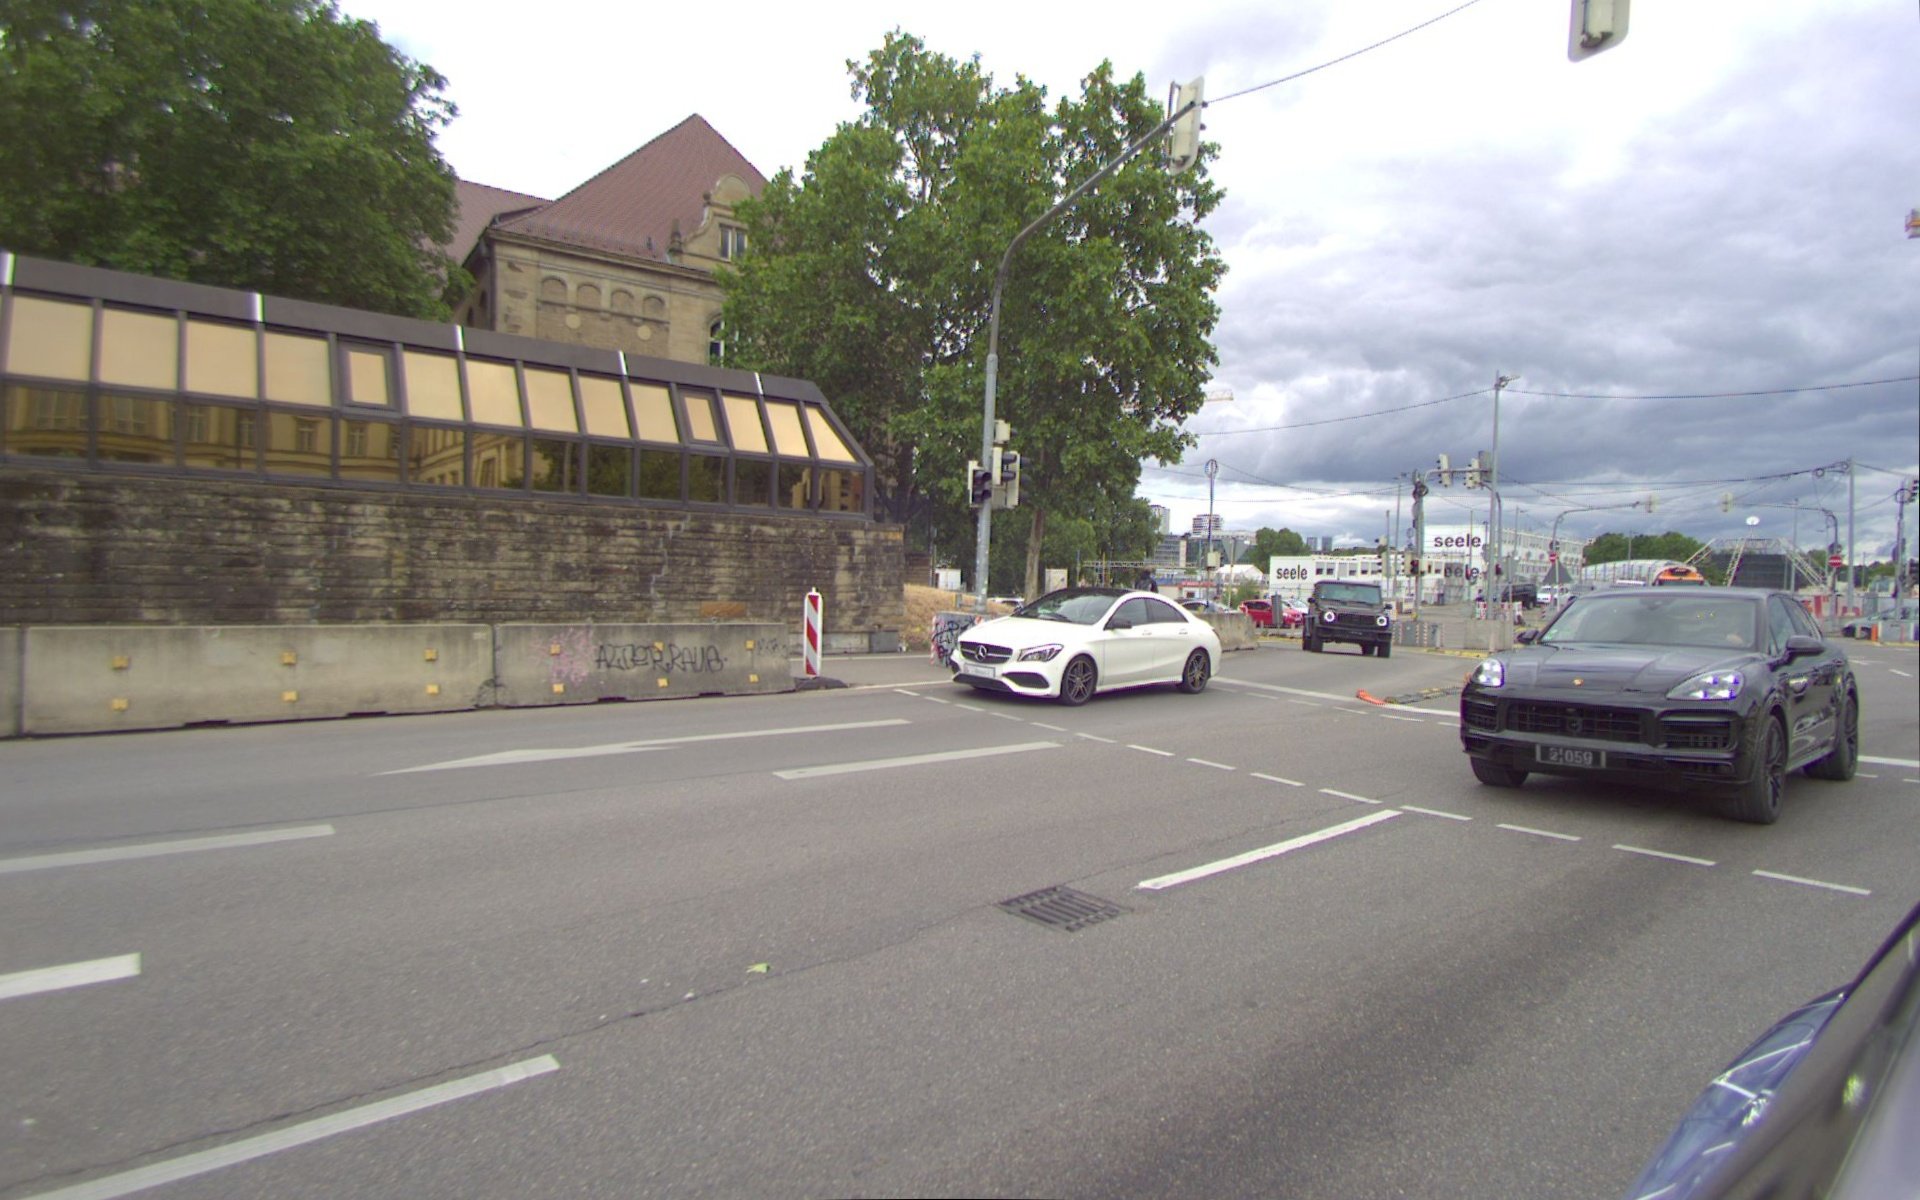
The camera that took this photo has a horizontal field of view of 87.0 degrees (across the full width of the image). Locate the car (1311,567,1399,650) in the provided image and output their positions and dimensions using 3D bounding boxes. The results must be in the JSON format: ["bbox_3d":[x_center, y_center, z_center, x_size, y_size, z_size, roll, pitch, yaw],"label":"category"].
[{"bbox_3d":[10.490,0.281,26.746,1.919,1.963,3.640,2,-2,25],"label":"car"}]

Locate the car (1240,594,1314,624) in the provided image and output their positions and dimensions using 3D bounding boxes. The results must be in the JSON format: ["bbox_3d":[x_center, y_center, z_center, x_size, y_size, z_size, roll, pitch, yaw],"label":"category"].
[{"bbox_3d":[16.633,0.431,53.186,1.660,1.453,3.446,-1,2,-36],"label":"car"}]

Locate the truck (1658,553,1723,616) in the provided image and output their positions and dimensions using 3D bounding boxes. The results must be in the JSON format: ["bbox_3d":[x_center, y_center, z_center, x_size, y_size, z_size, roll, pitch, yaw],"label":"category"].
[{"bbox_3d":[46.638,-1.004,64.812,2.891,3.720,8.920,2,2,33],"label":"truck"}]

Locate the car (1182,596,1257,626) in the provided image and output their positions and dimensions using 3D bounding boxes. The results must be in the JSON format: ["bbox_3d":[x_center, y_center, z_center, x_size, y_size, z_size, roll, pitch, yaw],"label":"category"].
[{"bbox_3d":[13.384,0.572,52.240,1.635,1.453,3.443,-2,1,-38],"label":"car"}]

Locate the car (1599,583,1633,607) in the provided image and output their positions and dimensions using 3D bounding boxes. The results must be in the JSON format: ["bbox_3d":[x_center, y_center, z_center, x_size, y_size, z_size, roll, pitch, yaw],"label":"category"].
[{"bbox_3d":[42.312,-0.357,65.238,1.775,1.453,4.018,2,1,34],"label":"car"}]

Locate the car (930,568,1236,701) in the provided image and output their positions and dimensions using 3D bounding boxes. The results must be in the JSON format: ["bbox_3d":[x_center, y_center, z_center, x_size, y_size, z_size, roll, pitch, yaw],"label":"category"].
[{"bbox_3d":[1.789,0.419,13.685,4.308,1.453,1.737,2,2,-44],"label":"car"}]

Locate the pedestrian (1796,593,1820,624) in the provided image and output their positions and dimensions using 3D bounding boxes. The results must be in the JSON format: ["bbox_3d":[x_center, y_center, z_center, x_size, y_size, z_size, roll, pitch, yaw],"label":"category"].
[{"bbox_3d":[44.971,0.439,53.672,0.844,1.612,0.616,0,0,32],"label":"pedestrian"}]

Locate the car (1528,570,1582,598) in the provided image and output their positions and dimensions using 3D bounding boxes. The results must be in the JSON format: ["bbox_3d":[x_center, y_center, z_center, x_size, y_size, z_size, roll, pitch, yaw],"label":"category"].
[{"bbox_3d":[46.528,-1.269,79.076,4.083,2.039,2.001,2,1,-33],"label":"car"}]

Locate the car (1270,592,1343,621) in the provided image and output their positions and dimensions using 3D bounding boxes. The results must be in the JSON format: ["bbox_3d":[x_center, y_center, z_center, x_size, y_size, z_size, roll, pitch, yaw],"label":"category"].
[{"bbox_3d":[18.828,0.345,55.073,1.663,1.453,3.446,-2,2,-36],"label":"car"}]

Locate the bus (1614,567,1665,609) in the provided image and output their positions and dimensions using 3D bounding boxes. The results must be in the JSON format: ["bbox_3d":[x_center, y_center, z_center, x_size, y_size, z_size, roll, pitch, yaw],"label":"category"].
[{"bbox_3d":[56.564,-0.919,84.086,2.799,3.209,9.271,3,1,38],"label":"bus"}]

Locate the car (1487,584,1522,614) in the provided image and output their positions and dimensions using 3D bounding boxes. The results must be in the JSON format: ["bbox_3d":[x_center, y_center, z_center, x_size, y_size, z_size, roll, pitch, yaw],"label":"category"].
[{"bbox_3d":[40.159,-0.068,74.580,1.985,2.039,3.954,3,1,32],"label":"car"}]

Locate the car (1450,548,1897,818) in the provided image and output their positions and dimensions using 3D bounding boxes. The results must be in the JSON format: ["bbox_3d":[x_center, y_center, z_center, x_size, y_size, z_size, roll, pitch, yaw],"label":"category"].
[{"bbox_3d":[6.122,0.586,8.482,4.525,1.669,1.955,2,-2,-40],"label":"car"}]

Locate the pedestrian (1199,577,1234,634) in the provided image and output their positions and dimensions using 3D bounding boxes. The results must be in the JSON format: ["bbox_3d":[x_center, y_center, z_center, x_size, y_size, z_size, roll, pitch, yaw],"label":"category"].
[{"bbox_3d":[9.363,0.197,37.028,1.186,2.039,1.189,1,0,14],"label":"pedestrian"}]

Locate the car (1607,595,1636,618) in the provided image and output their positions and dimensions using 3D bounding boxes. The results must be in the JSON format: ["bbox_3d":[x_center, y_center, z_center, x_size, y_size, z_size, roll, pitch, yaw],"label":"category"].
[{"bbox_3d":[45.855,0.424,70.150,1.641,1.453,3.575,2,1,34],"label":"car"}]

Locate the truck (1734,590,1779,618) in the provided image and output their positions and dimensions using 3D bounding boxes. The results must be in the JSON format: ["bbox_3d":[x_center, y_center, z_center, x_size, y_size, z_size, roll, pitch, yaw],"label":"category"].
[{"bbox_3d":[47.777,0.244,60.754,1.815,1.559,3.714,2,1,35],"label":"truck"}]

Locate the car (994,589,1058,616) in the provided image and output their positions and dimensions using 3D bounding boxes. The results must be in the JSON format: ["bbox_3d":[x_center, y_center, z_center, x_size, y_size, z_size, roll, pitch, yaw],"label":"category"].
[{"bbox_3d":[4.121,0.136,63.830,1.806,1.588,3.996,-1,1,-39],"label":"car"}]

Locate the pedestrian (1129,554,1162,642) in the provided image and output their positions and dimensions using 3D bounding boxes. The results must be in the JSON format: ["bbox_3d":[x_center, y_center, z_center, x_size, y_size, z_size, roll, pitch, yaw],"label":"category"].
[{"bbox_3d":[4.399,-0.057,23.993,0.615,2.039,0.845,0,0,22],"label":"pedestrian"}]

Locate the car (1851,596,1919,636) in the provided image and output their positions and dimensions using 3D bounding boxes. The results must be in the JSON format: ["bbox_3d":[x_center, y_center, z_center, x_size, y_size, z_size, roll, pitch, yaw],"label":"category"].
[{"bbox_3d":[39.927,0.676,42.287,3.943,1.594,1.665,-1,-3,45],"label":"car"}]
